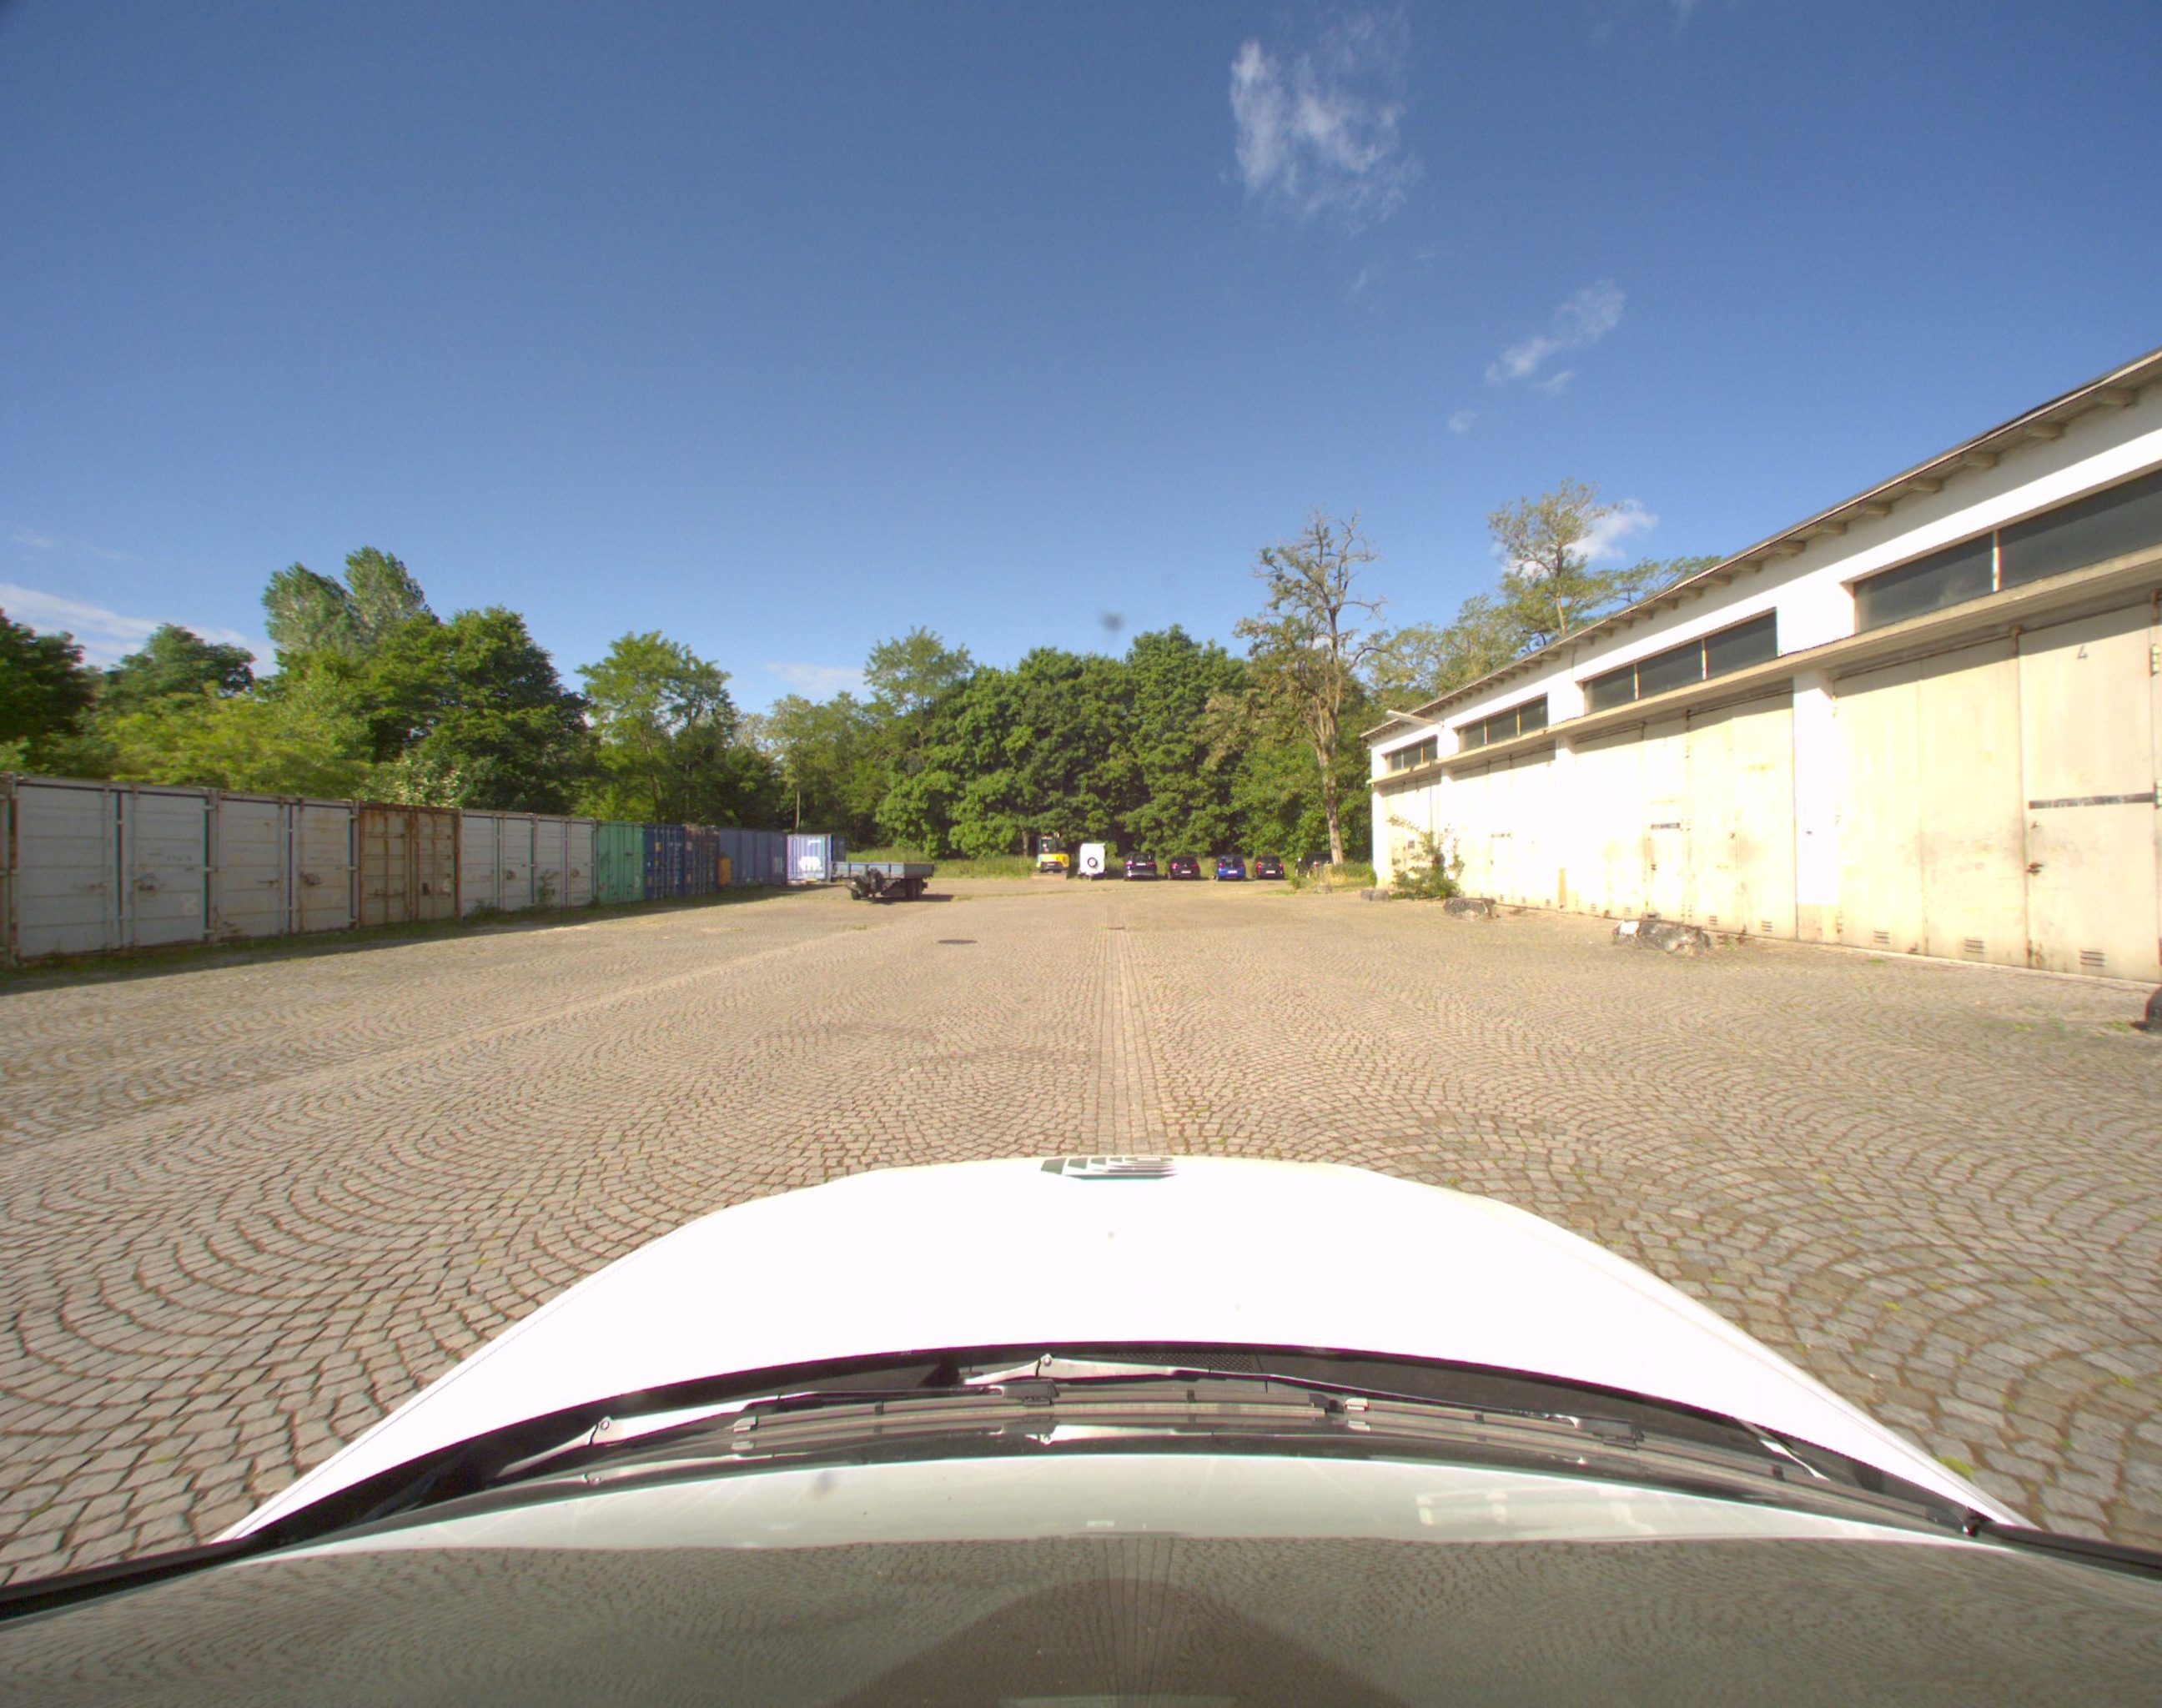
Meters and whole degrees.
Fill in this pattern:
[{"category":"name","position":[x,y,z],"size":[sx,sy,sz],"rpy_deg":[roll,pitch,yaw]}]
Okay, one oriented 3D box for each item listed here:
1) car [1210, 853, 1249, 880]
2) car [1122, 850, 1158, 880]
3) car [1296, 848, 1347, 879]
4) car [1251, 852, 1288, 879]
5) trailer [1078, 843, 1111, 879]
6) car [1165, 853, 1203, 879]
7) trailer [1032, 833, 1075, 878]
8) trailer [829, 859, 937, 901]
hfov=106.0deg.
[{"category":"car","position":[8.524,0.683,46.996],"size":[1.772,1.458,3.793],"rpy_deg":[0,1,3]},{"category":"car","position":[3.341,0.598,46.687],"size":[1.956,1.589,4.133],"rpy_deg":[0,1,2]},{"category":"car","position":[13.977,0.514,47.515],"size":[1.867,1.630,4.276],"rpy_deg":[0,2,2]},{"category":"car","position":[11.059,0.626,47.978],"size":[1.729,1.451,3.733],"rpy_deg":[0,1,7]},{"category":"trailer","position":[0.795,0.394,47.972],"size":[1.810,2.050,2.853],"rpy_deg":[0,1,3]},{"category":"car","position":[5.902,0.662,46.988],"size":[1.882,1.411,3.792],"rpy_deg":[0,1,2]},{"category":"trailer","position":[-1.582,0.052,48.341],"size":[2.249,2.538,2.854],"rpy_deg":[0,3,3]},{"category":"trailer","position":[-7.122,0.899,30.000],"size":[2.630,1.414,4.864],"rpy_deg":[0,-1,2]}]
